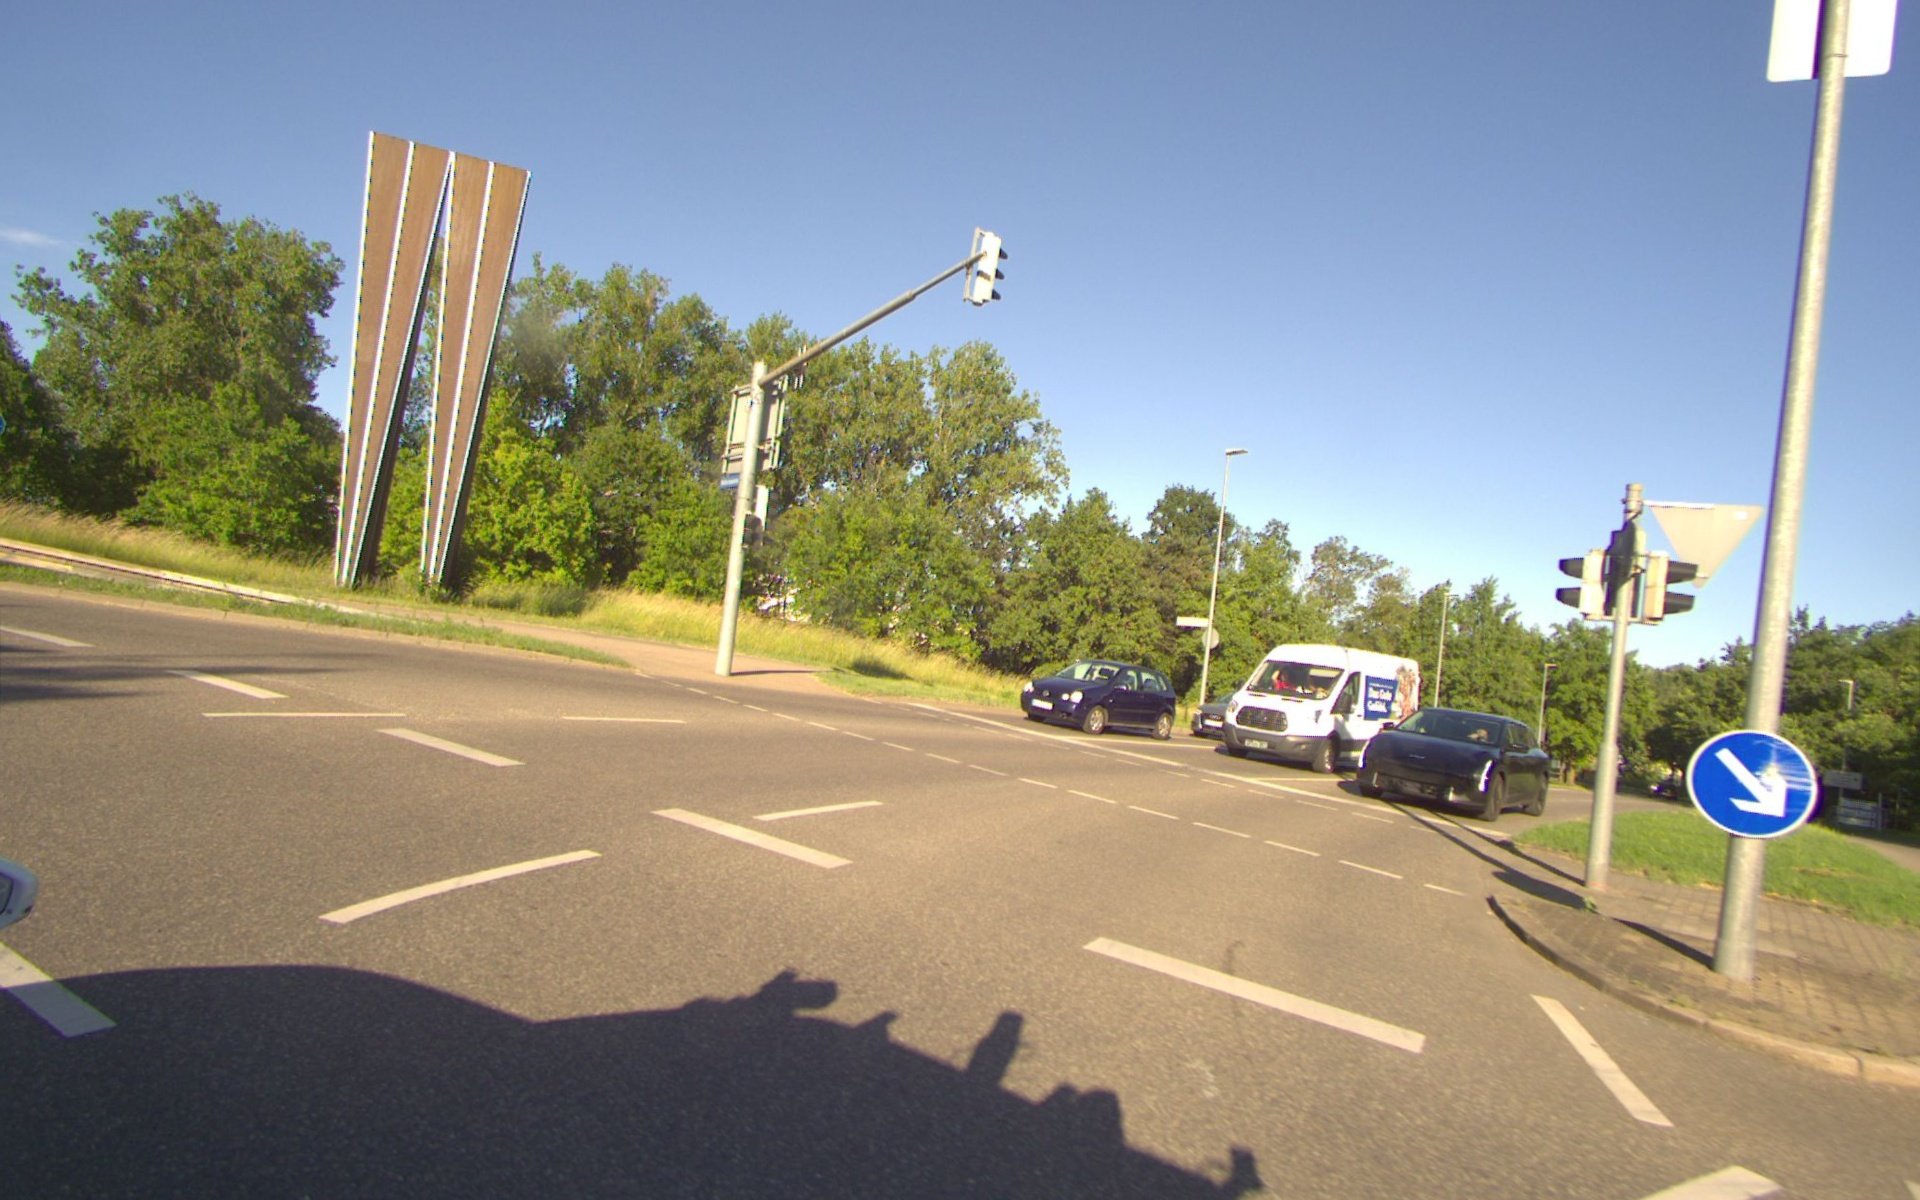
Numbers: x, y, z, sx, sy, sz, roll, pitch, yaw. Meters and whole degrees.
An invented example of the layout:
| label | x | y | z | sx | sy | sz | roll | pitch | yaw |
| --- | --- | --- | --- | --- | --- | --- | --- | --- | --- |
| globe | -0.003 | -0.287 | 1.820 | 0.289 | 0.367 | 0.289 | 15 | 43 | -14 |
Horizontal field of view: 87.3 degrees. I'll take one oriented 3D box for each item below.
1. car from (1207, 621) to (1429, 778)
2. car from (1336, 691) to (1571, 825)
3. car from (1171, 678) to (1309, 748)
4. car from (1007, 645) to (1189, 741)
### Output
| label | x | y | z | sx | sy | sz | roll | pitch | yaw |
| --- | --- | --- | --- | --- | --- | --- | --- | --- | --- |
| car | 7.295 | 2.078 | 20.090 | 2.080 | 2.434 | 5.267 | 6 | -4 | 42 |
| car | 7.717 | 2.428 | 15.493 | 1.973 | 1.480 | 4.455 | 7 | -3 | 43 |
| car | 7.233 | 2.918 | 25.832 | 3.681 | 1.402 | 1.592 | 10 | -3 | -42 |
| car | 2.908 | 1.950 | 20.656 | 1.672 | 1.418 | 3.742 | 8 | -3 | 44 |
